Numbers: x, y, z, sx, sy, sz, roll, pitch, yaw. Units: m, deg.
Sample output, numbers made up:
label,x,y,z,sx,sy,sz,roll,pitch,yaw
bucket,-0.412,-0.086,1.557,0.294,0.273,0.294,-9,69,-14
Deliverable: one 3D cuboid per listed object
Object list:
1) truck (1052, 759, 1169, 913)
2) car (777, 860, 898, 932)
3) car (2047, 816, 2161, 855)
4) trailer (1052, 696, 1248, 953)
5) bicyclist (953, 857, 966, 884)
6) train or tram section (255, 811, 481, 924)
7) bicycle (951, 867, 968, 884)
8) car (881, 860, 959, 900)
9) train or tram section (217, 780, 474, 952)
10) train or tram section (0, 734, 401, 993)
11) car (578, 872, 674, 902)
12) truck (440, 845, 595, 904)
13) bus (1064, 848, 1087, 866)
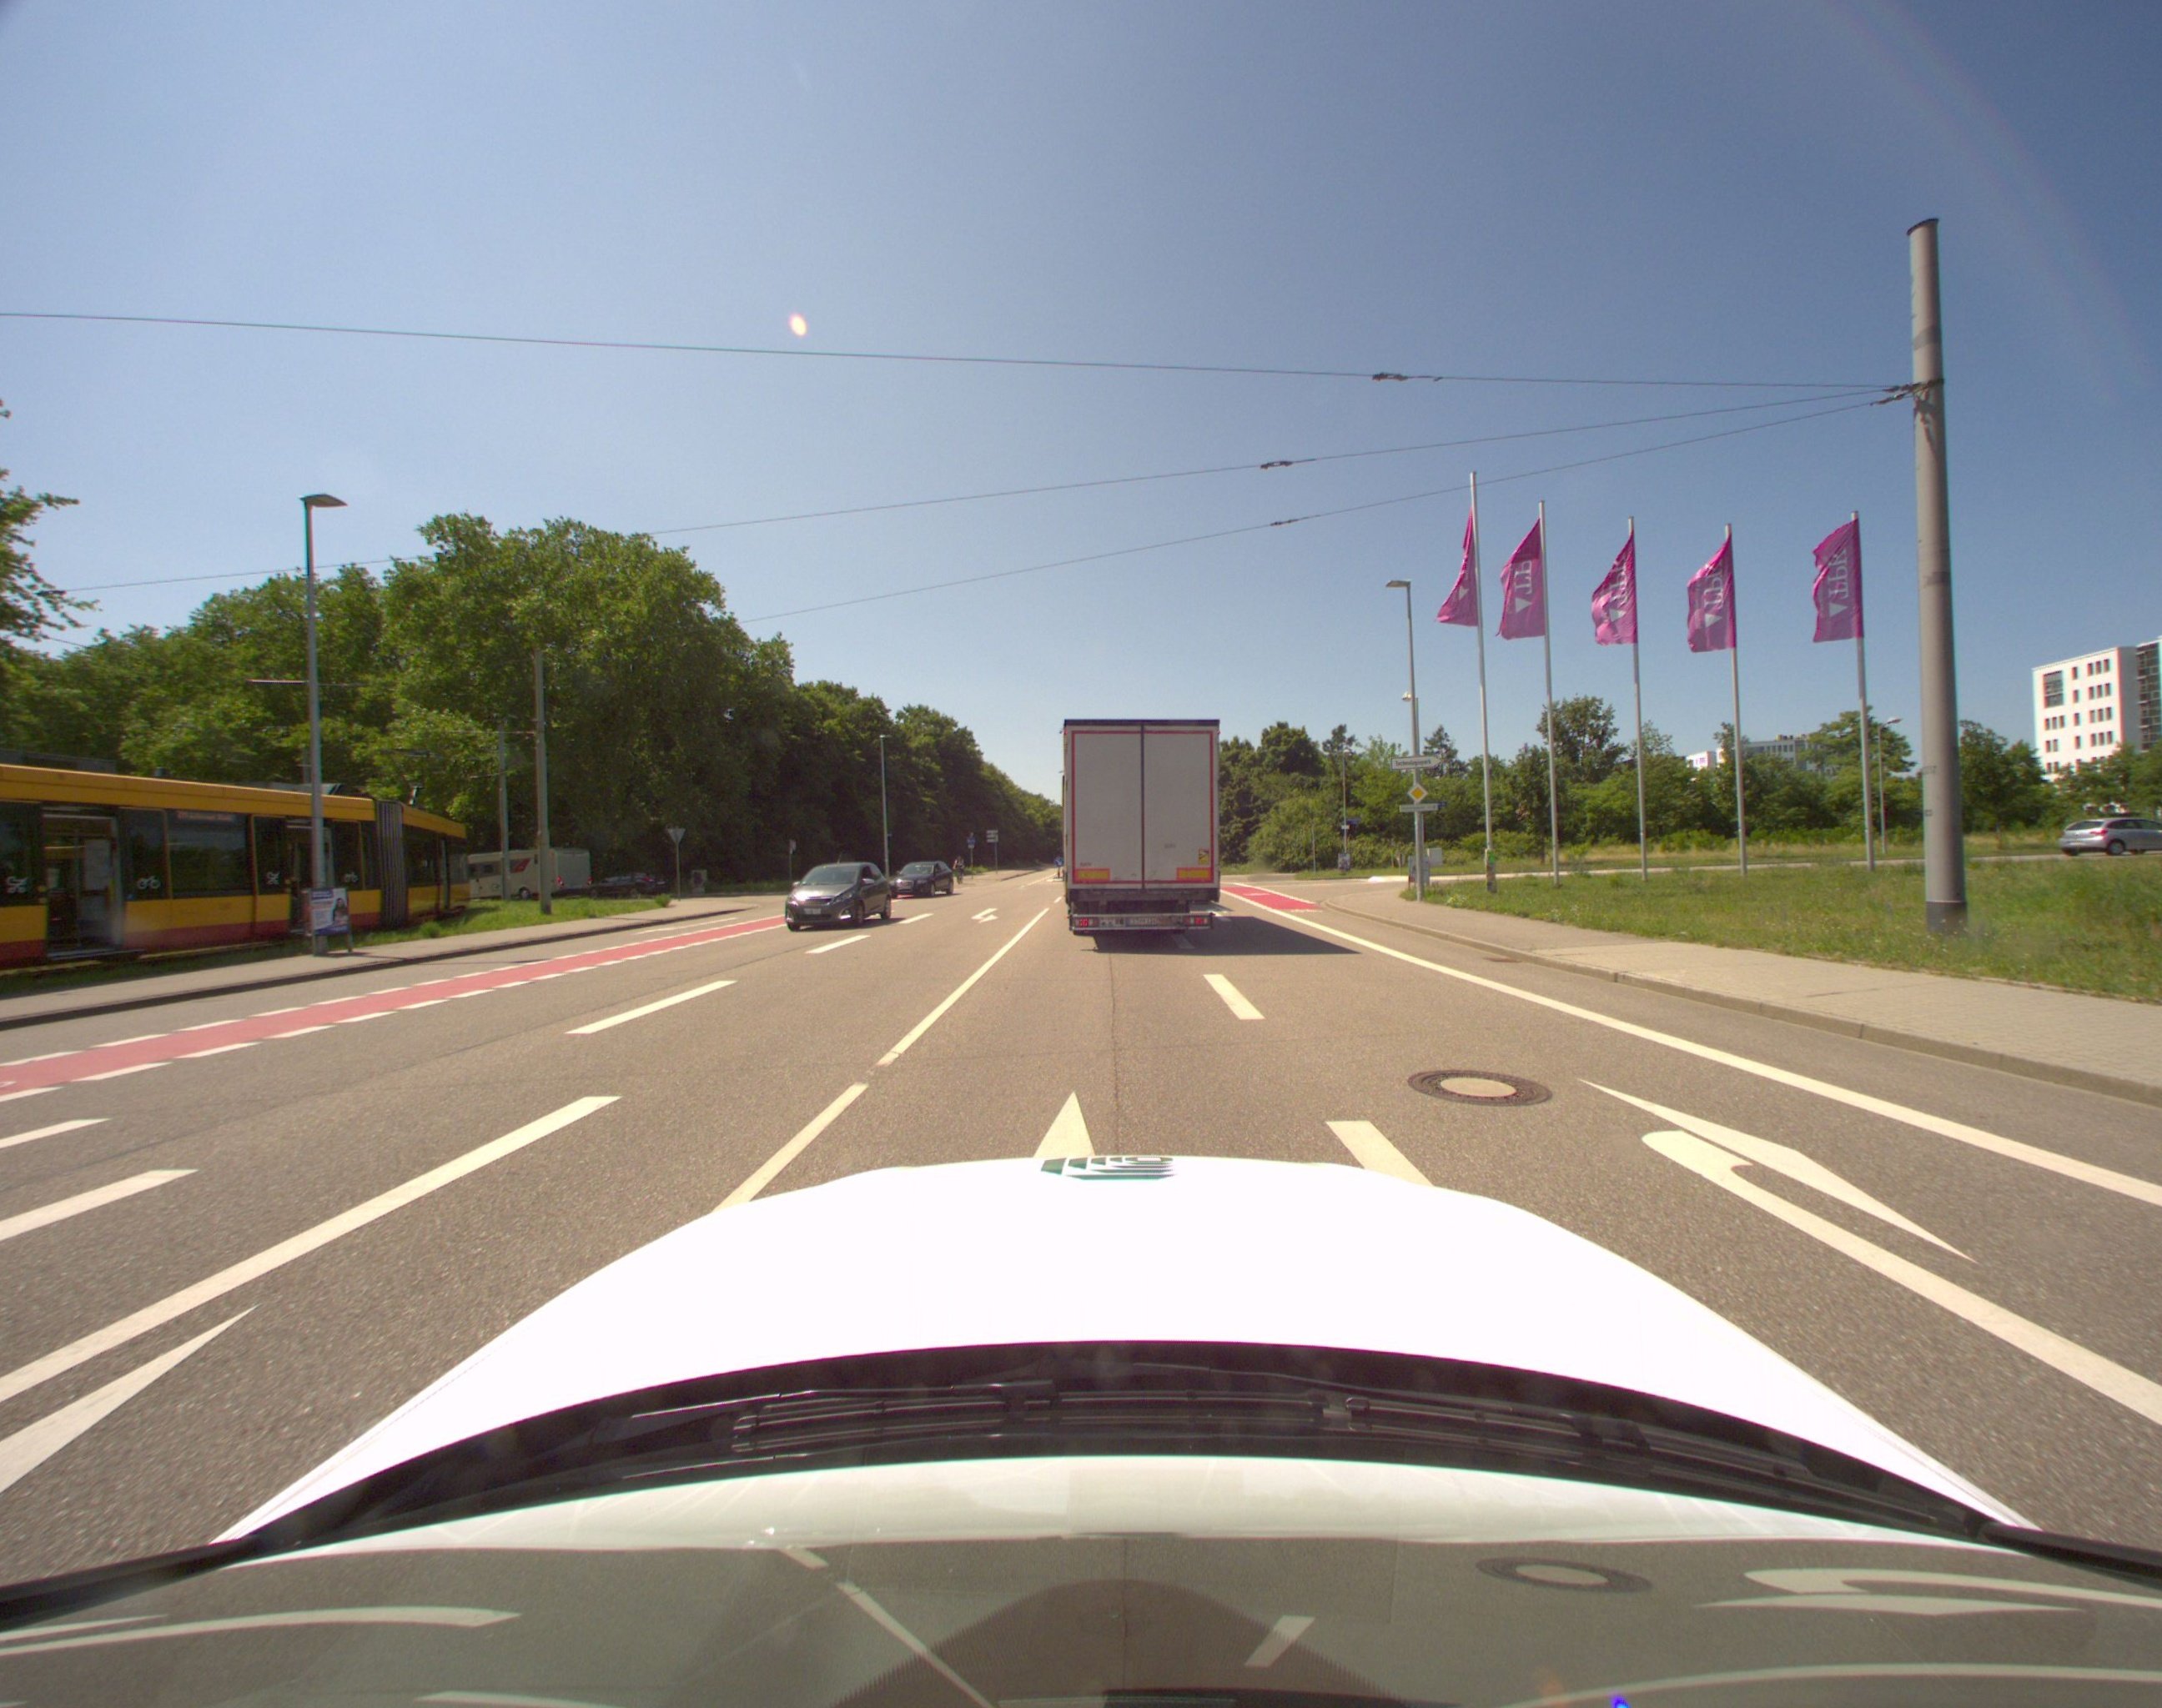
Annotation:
label,x,y,z,sx,sy,sz,roll,pitch,yaw
truck,0.657,-0.496,25.702,3.069,4.070,7.952,-1,0,-2
car,-5.626,0.912,19.244,1.616,1.456,3.503,-3,0,2
car,41.823,-0.738,32.730,3.592,1.533,1.711,0,0,11
trailer,0.937,-0.486,17.901,3.069,4.070,9.800,-1,0,-2
bicyclist,-7.821,1.081,52.402,0.662,1.706,0.770,-1,0,3
train or tram section,-28.482,0.693,32.110,13.865,3.759,3.046,-3,0,34
bicycle,-7.811,1.372,52.535,0.666,1.055,2.047,-1,0,4
car,-6.547,1.011,33.632,1.734,1.405,4.452,-1,1,8
train or tram section,-20.333,0.324,23.508,3.036,3.759,11.504,-3,0,-30
train or tram section,-17.192,0.207,12.653,3.011,3.759,12.973,-3,0,-4
car,-24.102,1.720,43.189,4.272,1.417,1.671,-2,-2,10
truck,-30.896,1.124,44.738,7.270,2.910,2.576,-2,-1,11
bus,-0.956,0.475,150.143,2.736,3.045,11.957,-3,0,5
